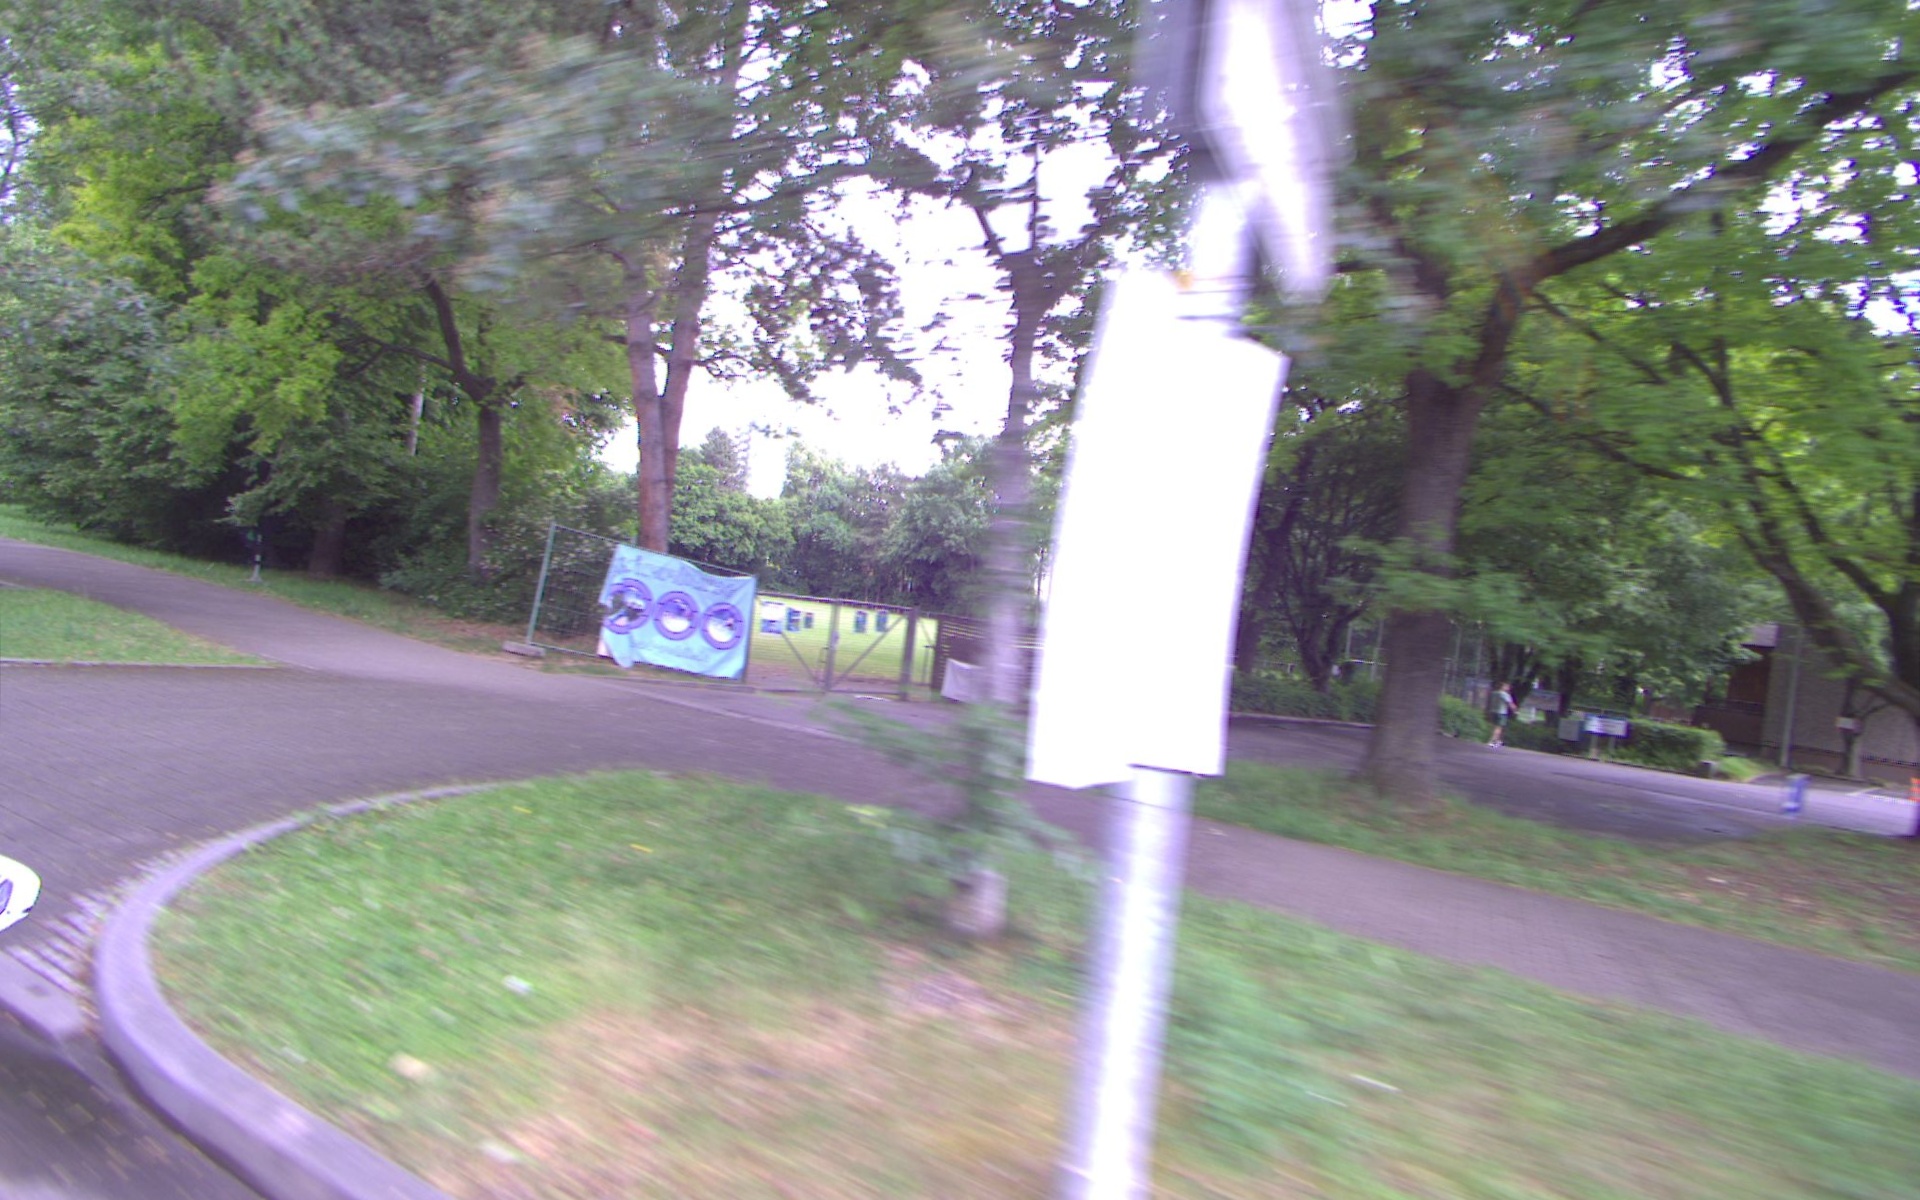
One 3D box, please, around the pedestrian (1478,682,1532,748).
[{"bbox_3d":[15.013,3.154,27.719,1.141,1.696,0.785,4,1,-37],"label":"pedestrian"}]
